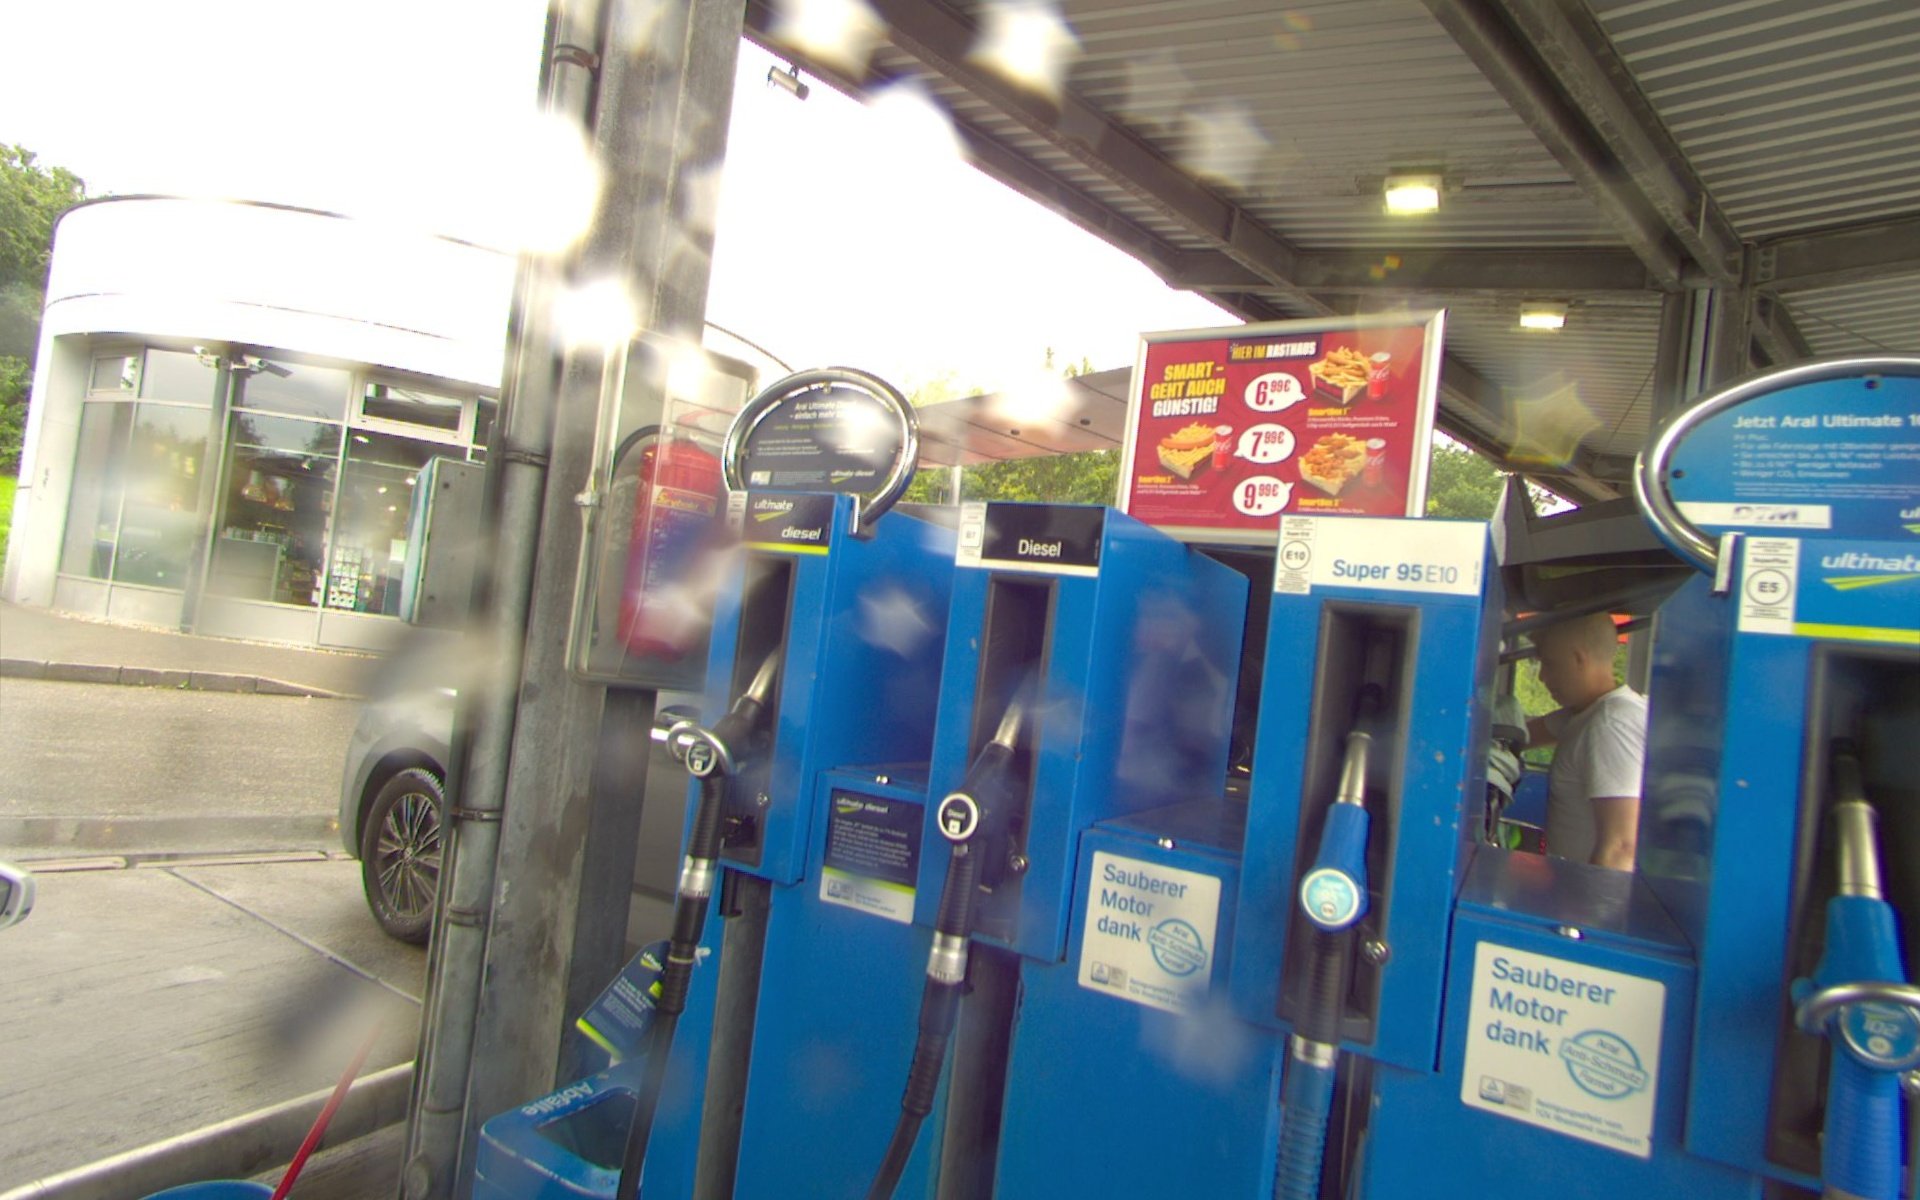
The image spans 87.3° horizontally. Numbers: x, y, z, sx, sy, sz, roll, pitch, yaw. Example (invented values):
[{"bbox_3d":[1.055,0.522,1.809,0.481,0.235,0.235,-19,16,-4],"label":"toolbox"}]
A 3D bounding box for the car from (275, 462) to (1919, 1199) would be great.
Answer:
[{"bbox_3d":[-0.138,0.649,3.672,5.055,1.819,1.865,6,-2,32],"label":"car"}]
